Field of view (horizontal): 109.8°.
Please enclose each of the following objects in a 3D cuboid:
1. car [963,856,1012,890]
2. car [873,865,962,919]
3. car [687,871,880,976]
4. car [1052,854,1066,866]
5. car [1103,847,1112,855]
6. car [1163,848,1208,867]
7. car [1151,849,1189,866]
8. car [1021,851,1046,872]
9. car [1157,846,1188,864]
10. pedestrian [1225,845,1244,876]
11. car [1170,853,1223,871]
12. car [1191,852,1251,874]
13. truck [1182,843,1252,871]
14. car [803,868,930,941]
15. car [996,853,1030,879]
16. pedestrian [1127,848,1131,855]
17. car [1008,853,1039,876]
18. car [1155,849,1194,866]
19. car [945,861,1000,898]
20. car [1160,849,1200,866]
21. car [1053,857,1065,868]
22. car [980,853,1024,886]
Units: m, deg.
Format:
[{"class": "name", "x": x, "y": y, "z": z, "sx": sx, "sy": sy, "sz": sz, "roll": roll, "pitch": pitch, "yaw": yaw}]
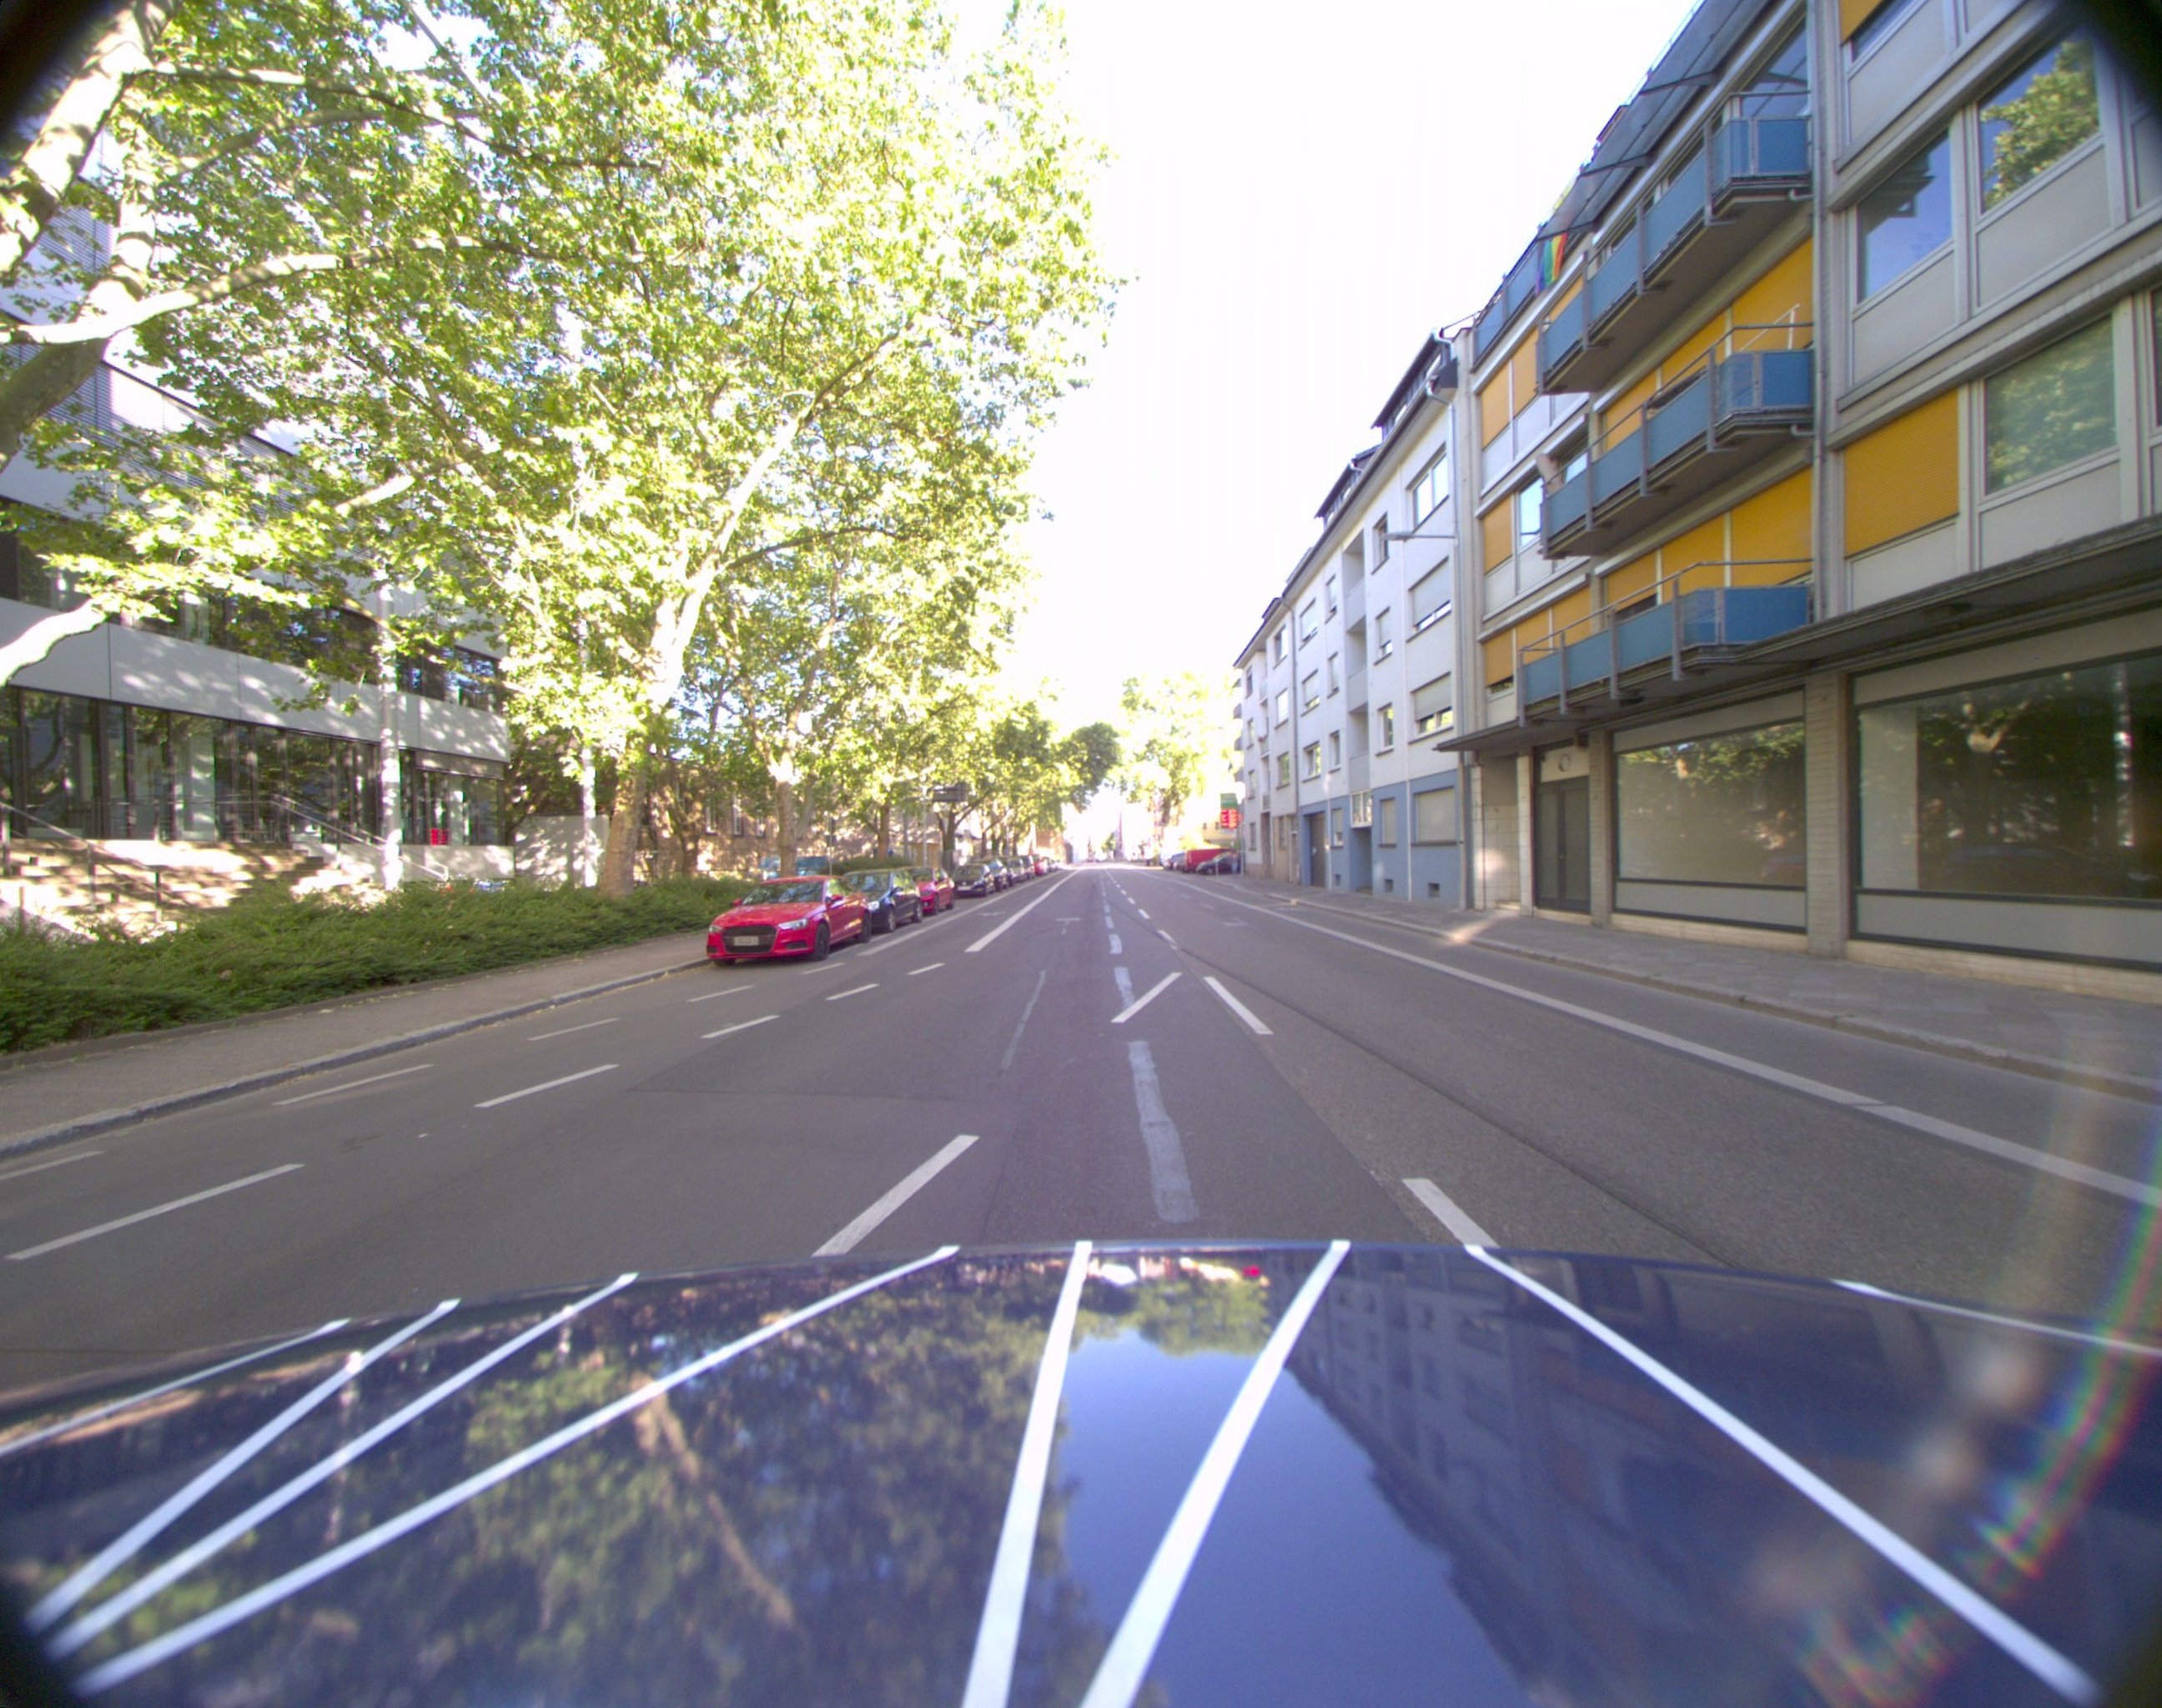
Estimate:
[{"class": "car", "x": -4.620, "y": 0.916, "z": 38.211, "sx": 1.848, "sy": 1.572, "sz": 4.232, "roll": -2, "pitch": 0, "yaw": 1}, {"class": "car", "x": -4.972, "y": 1.105, "z": 23.639, "sx": 1.790, "sy": 1.429, "sz": 4.000, "roll": -1, "pitch": 0, "yaw": 1}, {"class": "car", "x": -5.106, "y": 1.114, "z": 13.720, "sx": 1.775, "sy": 1.416, "sz": 4.173, "roll": -3, "pitch": 0, "yaw": 0}, {"class": "car", "x": -2.968, "y": 0.806, "z": 102.874, "sx": 1.707, "sy": 1.459, "sz": 3.809, "roll": -1, "pitch": 0, "yaw": 0}, {"class": "car", "x": 6.765, "y": -0.818, "z": 193.463, "sx": 1.998, "sy": 2.002, "sz": 3.999, "roll": -2, "pitch": 1, "yaw": 1}, {"class": "car", "x": 10.082, "y": 0.334, "z": 73.363, "sx": 3.998, "sy": 1.618, "sz": 1.702, "roll": -2, "pitch": 1, "yaw": -5}, {"class": "car", "x": 9.487, "y": 0.357, "z": 80.861, "sx": 3.728, "sy": 1.579, "sz": 1.743, "roll": -2, "pitch": 1, "yaw": -5}, {"class": "car", "x": -4.106, "y": 0.609, "z": 66.181, "sx": 1.876, "sy": 1.685, "sz": 4.166, "roll": -1, "pitch": 0, "yaw": 1}, {"class": "car", "x": 10.232, "y": 0.090, "z": 85.268, "sx": 3.267, "sy": 1.927, "sz": 1.693, "roll": -2, "pitch": 1, "yaw": 2}, {"class": "pedestrian", "x": 8.921, "y": 0.354, "z": 44.130, "sx": 0.896, "sy": 1.761, "sz": 0.741, "roll": -2, "pitch": 1, "yaw": 1}, {"class": "car", "x": 9.568, "y": 0.655, "z": 62.880, "sx": 4.033, "sy": 1.265, "sz": 1.906, "roll": -2, "pitch": 1, "yaw": -1}, {"class": "car", "x": 10.073, "y": 0.630, "z": 54.834, "sx": 3.997, "sy": 1.385, "sz": 1.781, "roll": -2, "pitch": 1, "yaw": -1}, {"class": "truck", "x": 10.729, "y": 0.222, "z": 60.097, "sx": 5.088, "sy": 2.009, "sz": 2.000, "roll": -2, "pitch": 1, "yaw": 0}, {"class": "car", "x": -5.060, "y": 1.140, "z": 18.516, "sx": 1.813, "sy": 1.449, "sz": 4.000, "roll": -1, "pitch": 0, "yaw": 2}, {"class": "car", "x": -4.439, "y": 0.734, "z": 50.455, "sx": 1.798, "sy": 1.608, "sz": 4.075, "roll": -1, "pitch": 0, "yaw": 1}, {"class": "pedestrian", "x": 12.854, "y": -0.678, "z": 202.521, "sx": 0.613, "sy": 1.981, "sz": 0.711, "roll": -1, "pitch": 2, "yaw": 41}, {"class": "car", "x": -4.167, "y": 0.745, "z": 55.511, "sx": 1.831, "sy": 1.608, "sz": 4.177, "roll": -1, "pitch": 0, "yaw": 1}, {"class": "car", "x": 9.617, "y": 0.361, "z": 78.570, "sx": 3.703, "sy": 1.573, "sz": 1.718, "roll": -2, "pitch": 1, "yaw": -5}, {"class": "car", "x": -4.674, "y": 1.078, "z": 33.264, "sx": 1.745, "sy": 1.430, "sz": 4.000, "roll": -1, "pitch": 0, "yaw": 1}, {"class": "car", "x": 9.881, "y": 0.365, "z": 75.911, "sx": 3.658, "sy": 1.578, "sz": 1.659, "roll": -2, "pitch": 1, "yaw": -5}, {"class": "car", "x": -2.626, "y": 1.019, "z": 92.312, "sx": 1.300, "sy": 1.220, "sz": 3.241, "roll": -1, "pitch": 0, "yaw": 0}, {"class": "car", "x": -4.543, "y": 0.863, "z": 44.194, "sx": 1.998, "sy": 1.715, "sz": 4.262, "roll": -2, "pitch": 1, "yaw": 1}]
